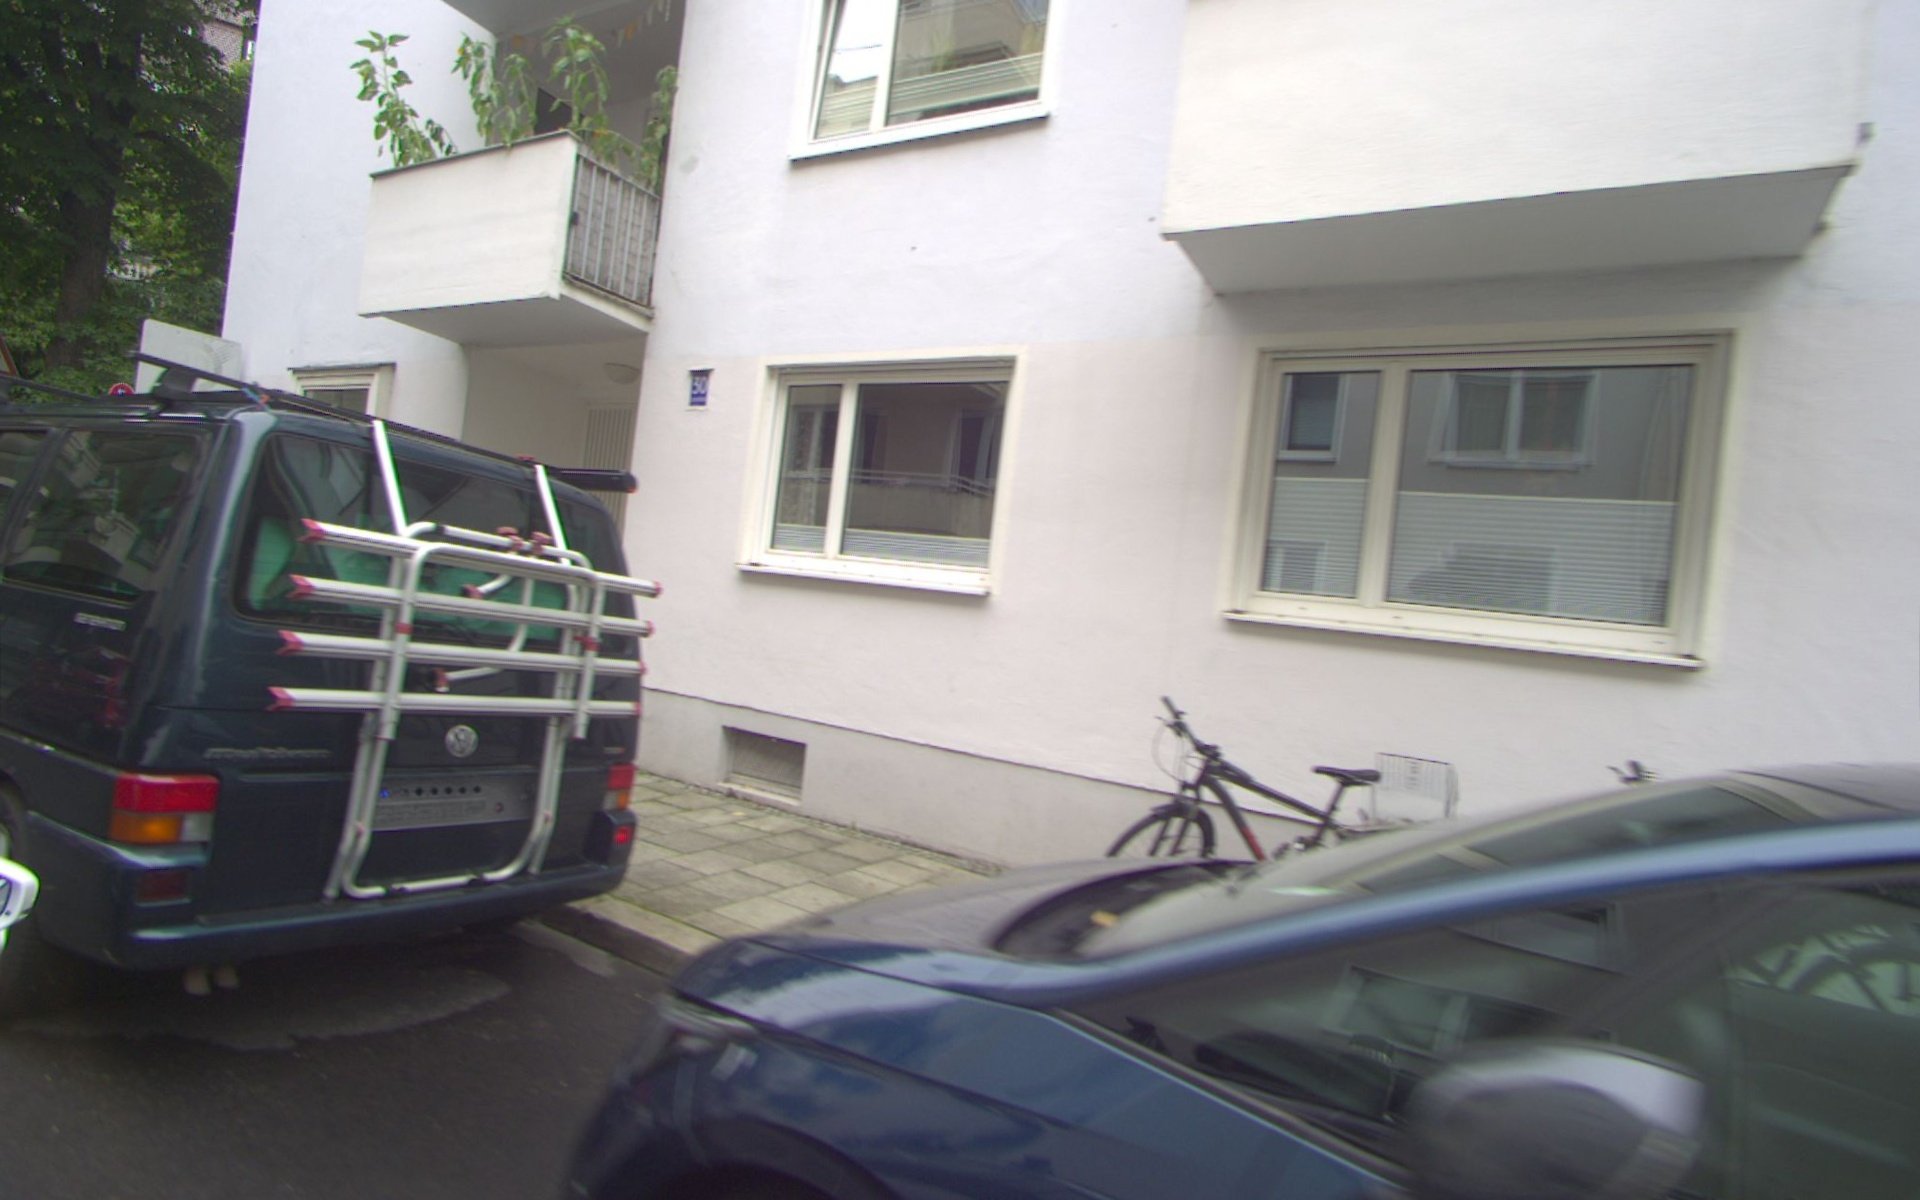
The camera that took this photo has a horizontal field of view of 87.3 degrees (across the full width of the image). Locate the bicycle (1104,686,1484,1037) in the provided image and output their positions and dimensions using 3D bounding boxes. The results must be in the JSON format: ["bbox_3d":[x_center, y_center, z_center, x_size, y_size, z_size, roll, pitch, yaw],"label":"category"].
[{"bbox_3d":[1.473,1.067,4.501,1.406,1.164,0.571,7,0,31],"label":"bicycle"}]

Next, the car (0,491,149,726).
[{"bbox_3d":[-7.663,-0.151,6.954,3.990,1.436,1.836,6,0,31],"label":"car"}]

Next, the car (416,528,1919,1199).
[{"bbox_3d":[1.550,0.946,1.306,4.548,1.572,1.909,6,-1,31],"label":"car"}]

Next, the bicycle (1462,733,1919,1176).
[{"bbox_3d":[2.778,1.201,3.677,1.537,1.164,0.571,7,0,31],"label":"bicycle"}]

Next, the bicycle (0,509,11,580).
[{"bbox_3d":[-15.702,-0.940,15.446,0.544,1.151,1.773,7,-1,-3],"label":"bicycle"}]

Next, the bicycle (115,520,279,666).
[{"bbox_3d":[-7.662,-0.090,10.074,1.886,1.234,0.560,7,-1,32],"label":"bicycle"}]

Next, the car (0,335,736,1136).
[{"bbox_3d":[-3.433,0.168,4.290,4.702,1.813,1.877,6,-1,31],"label":"car"}]

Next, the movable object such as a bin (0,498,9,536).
[{"bbox_3d":[-33.816,-2.959,34.835,0.857,1.320,1.420,10,-2,-32],"label":"movable object such as a bin"}]

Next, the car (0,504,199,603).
[{"bbox_3d":[-16.898,-0.952,18.897,4.647,1.393,1.960,7,-1,22],"label":"car"}]
